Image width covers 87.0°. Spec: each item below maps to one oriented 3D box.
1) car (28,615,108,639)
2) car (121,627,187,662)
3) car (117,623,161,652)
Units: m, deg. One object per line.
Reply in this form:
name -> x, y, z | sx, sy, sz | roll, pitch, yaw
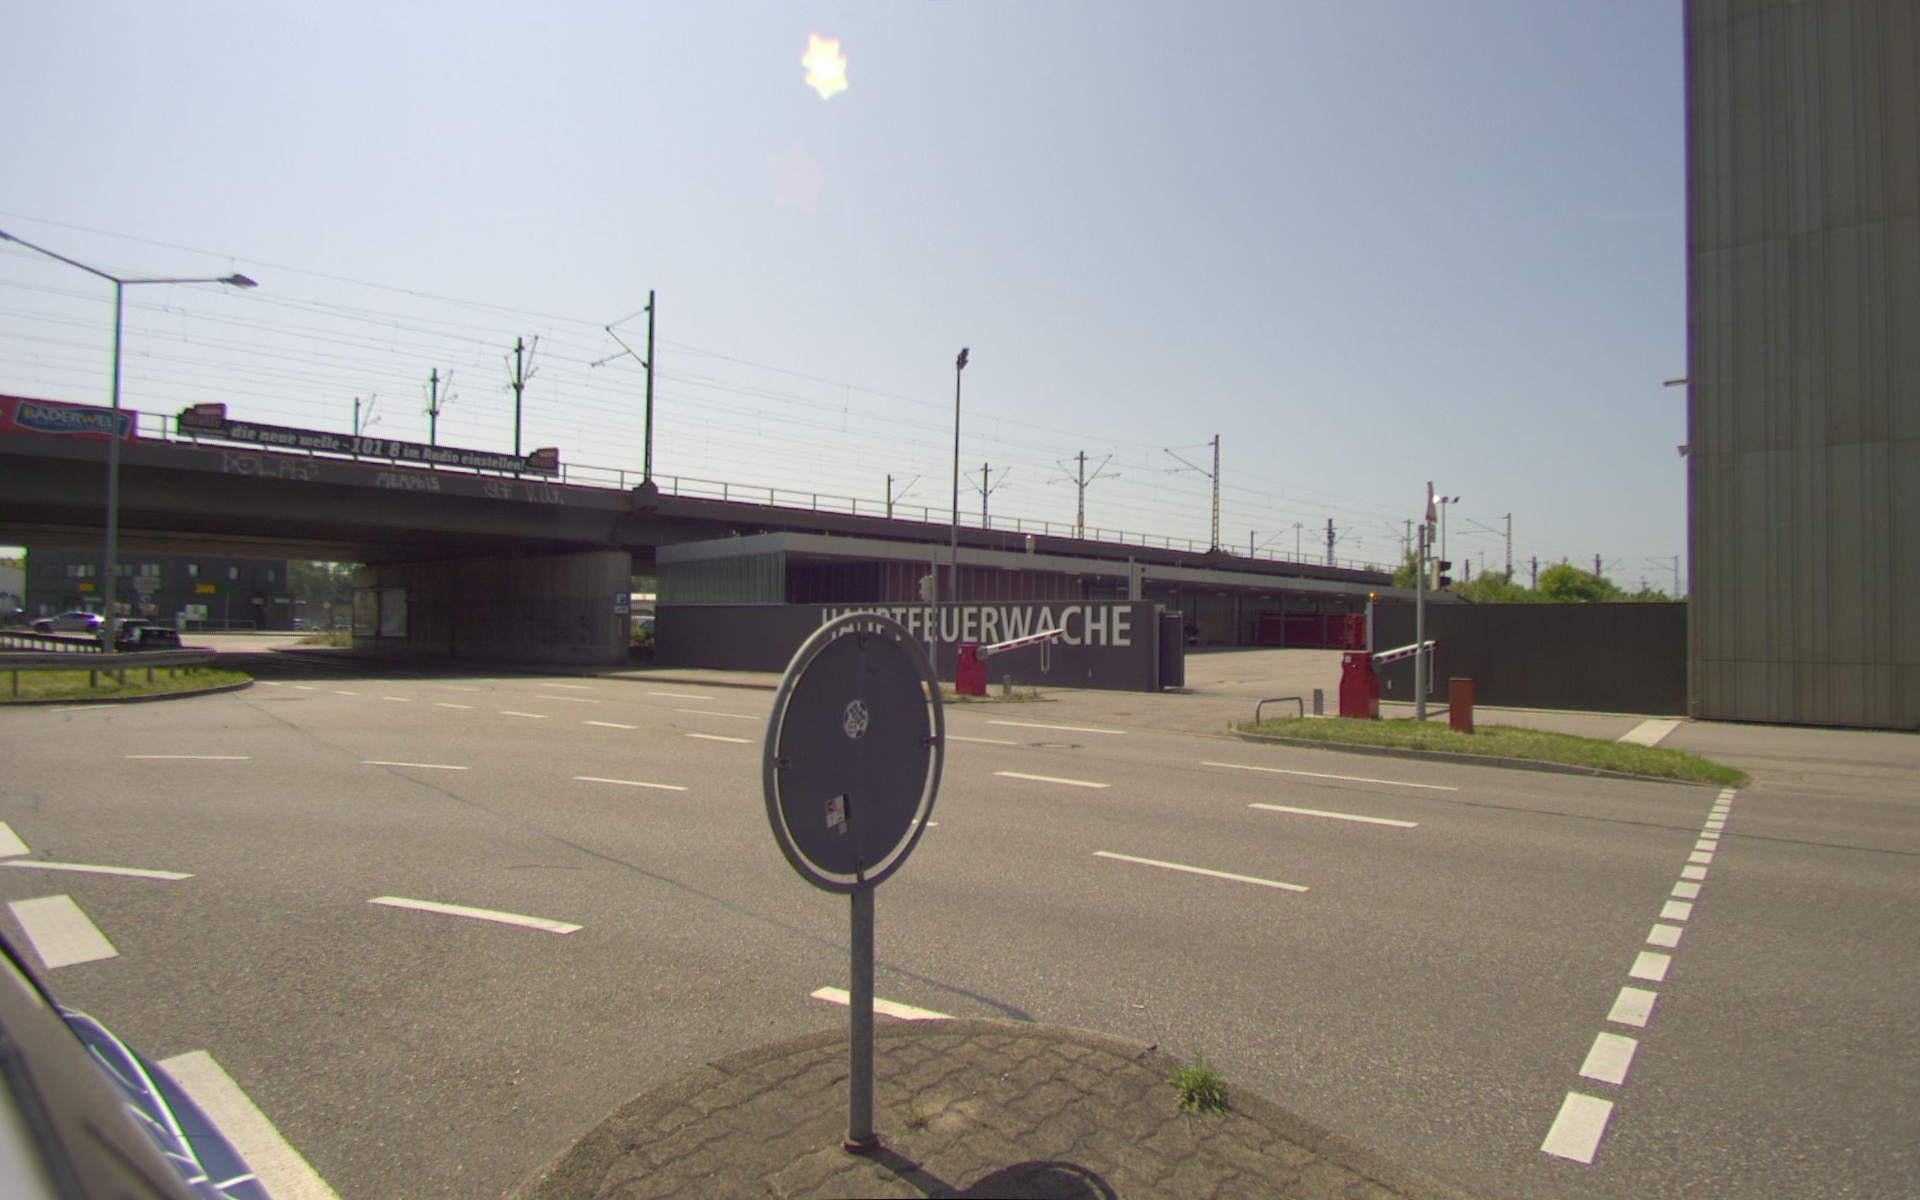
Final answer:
car -> -63.267, 1.943, 71.836 | 3.932, 1.697, 2.006 | 1, -2, -32
car -> -34.817, 1.908, 43.702 | 3.372, 1.461, 1.688 | -1, -2, 42
car -> -44.871, 2.041, 55.282 | 1.685, 1.556, 3.378 | 3, -2, -41
